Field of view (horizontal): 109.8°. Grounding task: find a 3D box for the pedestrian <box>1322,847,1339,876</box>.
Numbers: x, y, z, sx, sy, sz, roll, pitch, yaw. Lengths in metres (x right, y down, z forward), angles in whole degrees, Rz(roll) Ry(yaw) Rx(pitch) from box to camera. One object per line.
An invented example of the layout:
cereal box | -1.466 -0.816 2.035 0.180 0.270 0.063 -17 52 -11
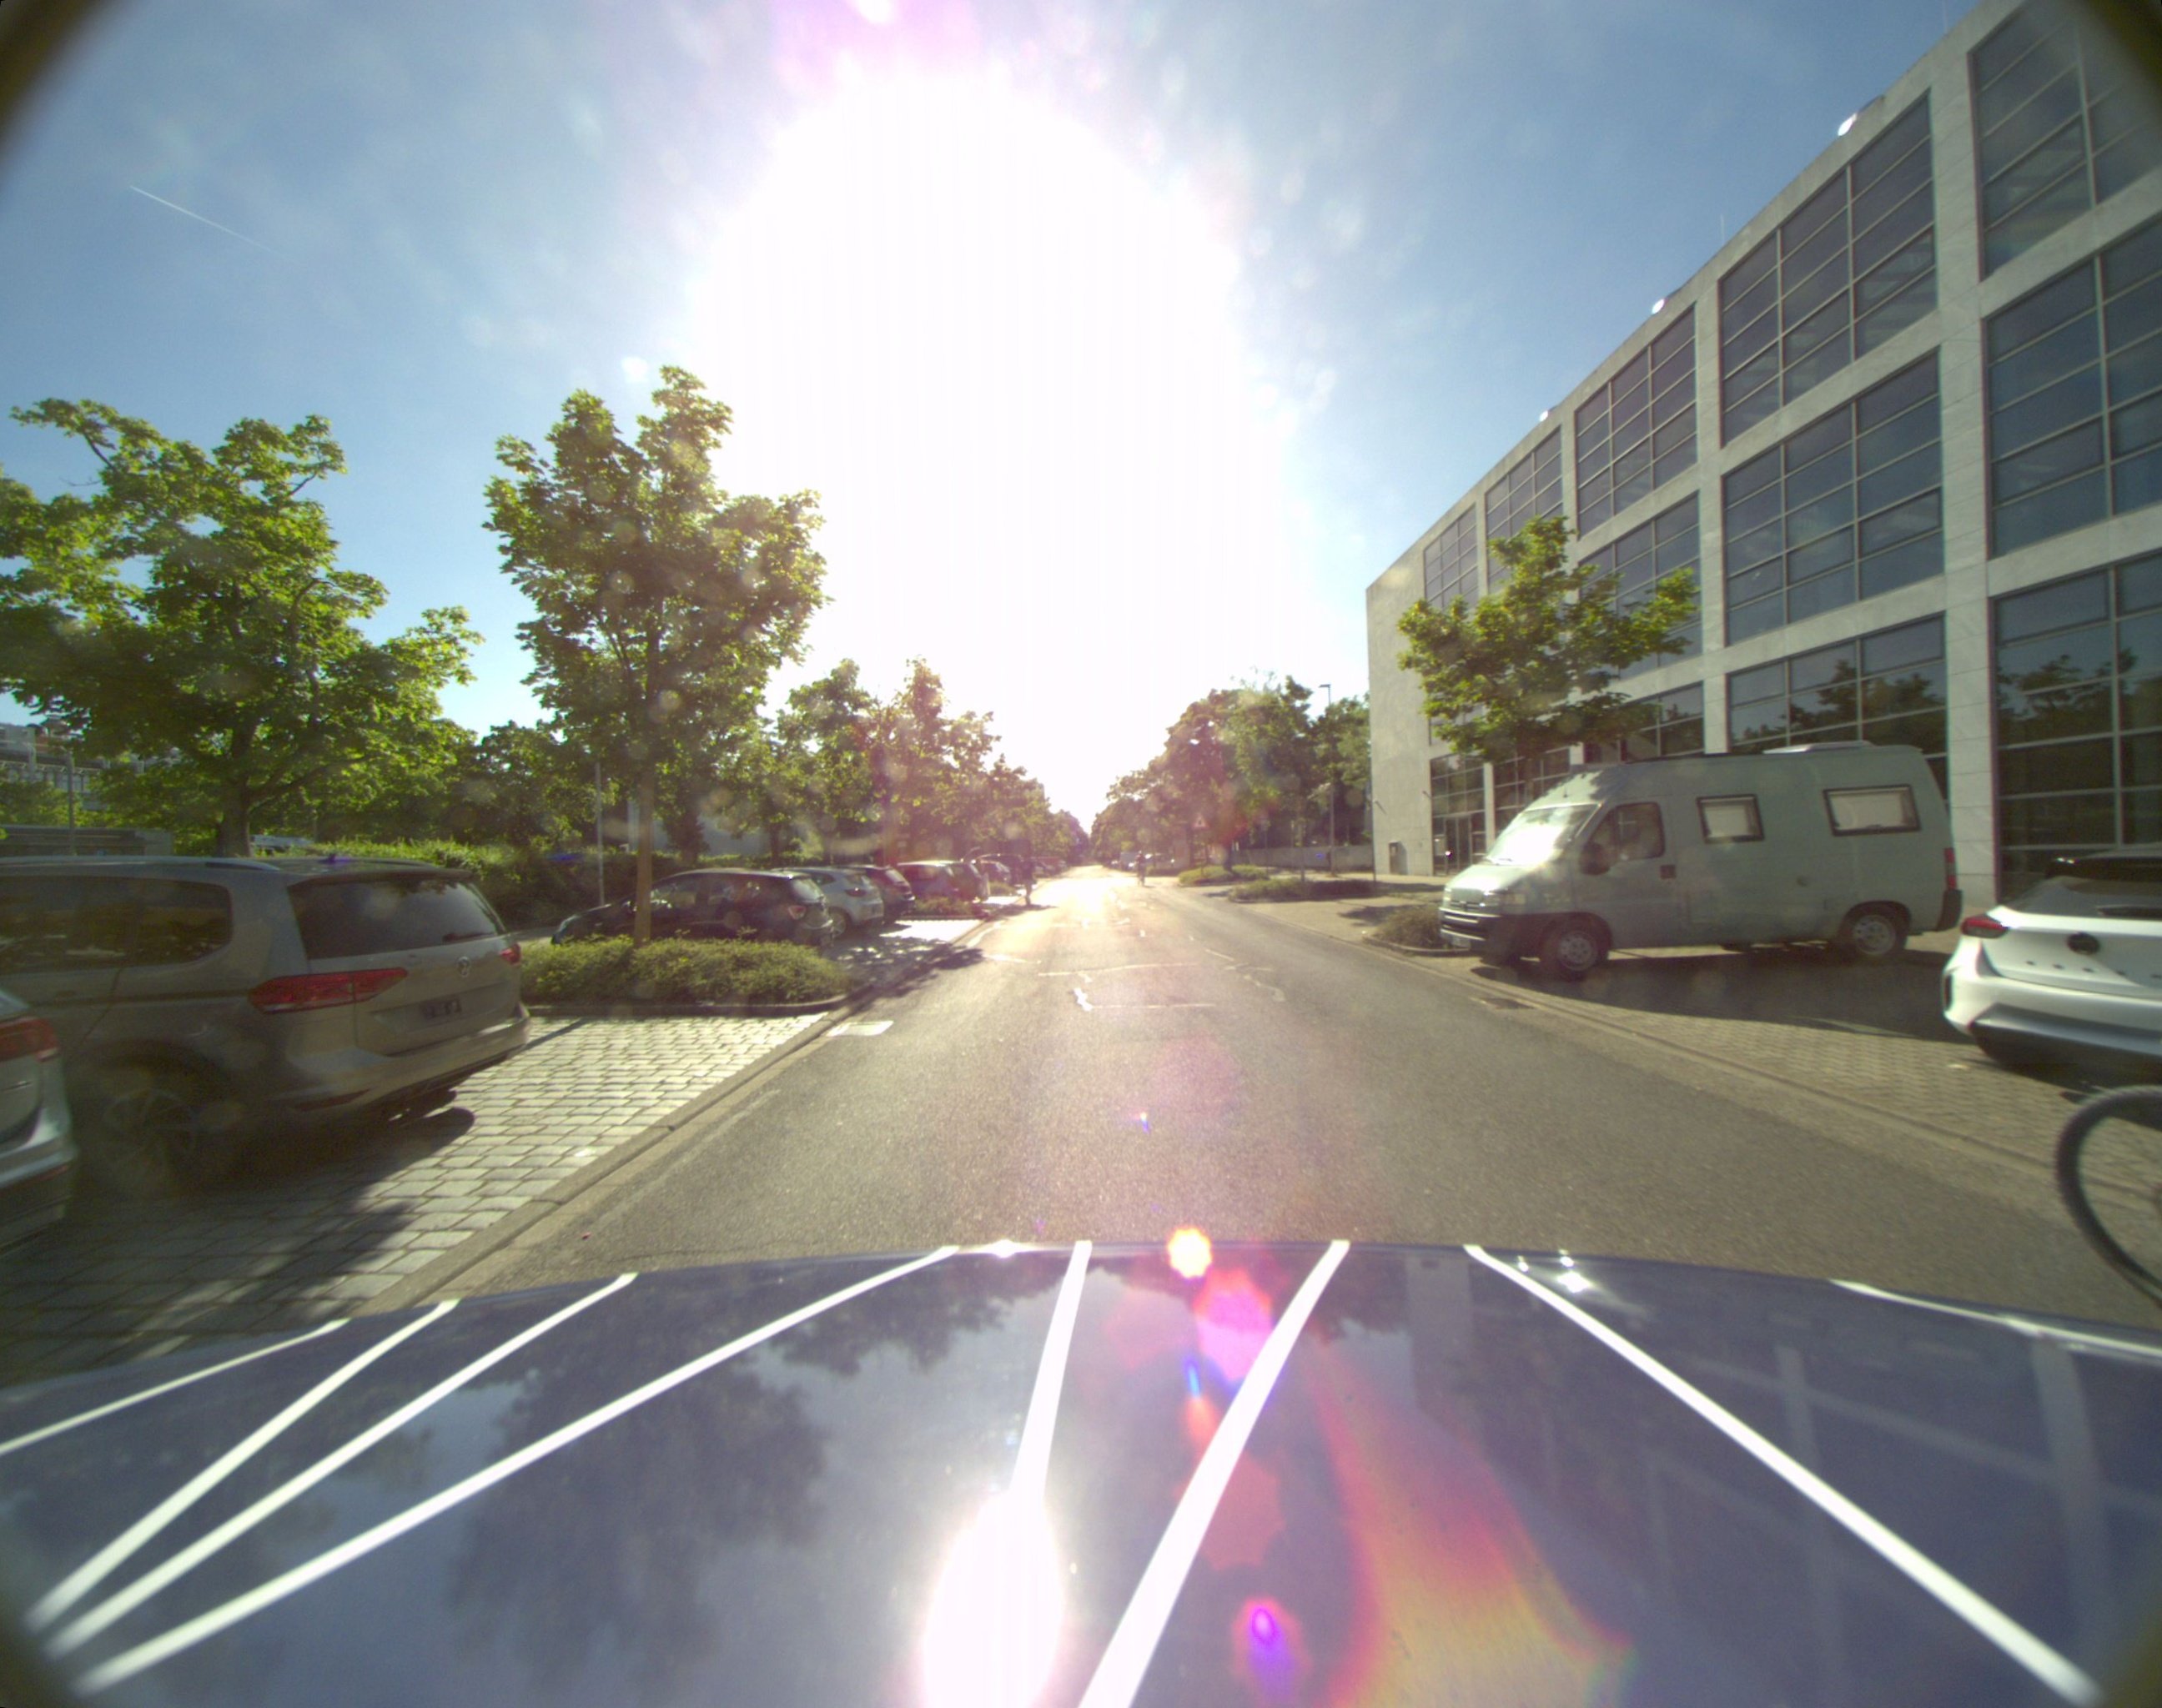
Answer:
pedestrian | 14.321 0.428 43.576 0.837 1.675 0.808 -1 0 13

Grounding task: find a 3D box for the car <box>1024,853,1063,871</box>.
car | -4.206 0.878 85.011 4.257 2.020 1.974 0 1 -1

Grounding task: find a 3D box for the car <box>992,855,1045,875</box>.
car | -5.037 0.875 61.559 4.165 1.588 1.829 -1 0 -1

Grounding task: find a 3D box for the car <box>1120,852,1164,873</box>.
car | 7.375 1.041 92.279 5.132 2.364 2.000 -1 -1 -1

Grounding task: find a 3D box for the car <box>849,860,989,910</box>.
car | -5.230 0.985 24.873 4.197 1.511 1.736 -1 0 -1

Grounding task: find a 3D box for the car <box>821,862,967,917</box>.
car | -5.443 1.023 22.485 3.909 1.459 1.621 -1 -1 -1

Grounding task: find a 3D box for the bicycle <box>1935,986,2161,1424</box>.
bicycle | 3.289 1.023 1.629 0.699 1.104 2.080 0 0 5

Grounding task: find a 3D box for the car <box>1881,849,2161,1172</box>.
car | 7.118 0.689 3.941 3.839 1.463 1.848 -4 0 2

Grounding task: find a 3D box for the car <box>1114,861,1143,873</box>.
car | 7.807 2.164 124.378 4.562 1.819 2.000 -1 -1 -1

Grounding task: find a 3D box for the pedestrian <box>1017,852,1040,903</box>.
pedestrian | -1.857 0.822 27.020 0.721 1.761 1.168 0 1 -1

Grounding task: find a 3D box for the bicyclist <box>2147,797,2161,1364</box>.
bicyclist | 3.284 0.629 1.565 0.685 1.571 1.061 0 1 5

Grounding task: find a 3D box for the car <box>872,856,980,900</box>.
car | -6.069 0.941 30.031 3.909 1.568 1.680 -1 -1 -1

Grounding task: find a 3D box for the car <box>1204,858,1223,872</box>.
car | 16.369 1.311 93.920 1.833 1.604 4.145 0 0 4

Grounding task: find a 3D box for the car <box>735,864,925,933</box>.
car | -5.934 1.030 18.286 3.904 1.489 1.842 -1 0 2

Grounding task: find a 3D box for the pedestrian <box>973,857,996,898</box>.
pedestrian | -3.773 0.927 29.820 0.766 1.569 0.674 -2 -1 0

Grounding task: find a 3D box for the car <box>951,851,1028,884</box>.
car | -5.186 0.766 43.473 4.165 1.836 1.880 0 1 0

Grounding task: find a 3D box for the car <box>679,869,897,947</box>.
car | -5.944 1.072 15.723 3.741 1.408 1.842 -1 0 2

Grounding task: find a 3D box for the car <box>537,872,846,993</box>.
car | -5.357 1.049 10.812 3.462 1.480 1.746 0 1 -1

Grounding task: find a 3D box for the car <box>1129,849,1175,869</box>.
car | 7.628 0.536 81.783 4.633 1.979 2.000 -1 -1 -1

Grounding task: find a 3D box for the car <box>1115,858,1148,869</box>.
car | 7.443 1.397 112.182 4.562 1.590 2.000 -1 -1 -1

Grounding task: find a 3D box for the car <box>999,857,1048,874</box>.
car | -5.019 0.989 66.250 4.165 1.398 1.829 0 0 -1

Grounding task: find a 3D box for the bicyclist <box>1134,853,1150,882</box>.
bicyclist | 3.019 0.665 37.516 0.759 1.423 1.132 0 1 2

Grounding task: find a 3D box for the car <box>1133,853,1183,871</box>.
car | 7.503 0.762 74.123 4.684 1.398 1.829 -4 0 2

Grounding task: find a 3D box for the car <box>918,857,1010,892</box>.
car | -5.226 0.902 34.269 3.909 1.418 1.672 -1 1 -1

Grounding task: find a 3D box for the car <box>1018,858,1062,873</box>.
car | -3.920 1.110 73.398 4.165 1.398 1.829 0 0 -1

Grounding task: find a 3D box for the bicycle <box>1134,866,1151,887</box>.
bicycle | 3.031 1.100 37.546 0.759 0.996 1.872 0 0 2

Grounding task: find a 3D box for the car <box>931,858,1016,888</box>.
car | -5.245 0.921 37.456 3.909 1.428 1.808 0 0 -1

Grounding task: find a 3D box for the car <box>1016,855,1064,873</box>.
car | -4.022 0.985 75.658 4.662 1.762 1.829 0 1 -1

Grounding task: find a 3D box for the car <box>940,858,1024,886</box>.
car | -5.177 0.926 40.138 4.165 1.398 1.829 0 0 -1

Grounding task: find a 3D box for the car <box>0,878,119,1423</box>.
car | -5.306 0.955 1.634 3.909 1.685 1.940 -1 -1 -1

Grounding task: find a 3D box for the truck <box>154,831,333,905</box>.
truck | -46.304 0.795 42.131 6.917 3.784 2.813 -1 -1 2

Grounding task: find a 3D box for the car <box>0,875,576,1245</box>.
car | -5.736 0.985 4.347 4.332 1.598 1.911 -1 0 -3

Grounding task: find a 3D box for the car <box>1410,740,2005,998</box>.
car | 7.126 0.172 9.175 5.261 2.404 2.123 -4 0 1
